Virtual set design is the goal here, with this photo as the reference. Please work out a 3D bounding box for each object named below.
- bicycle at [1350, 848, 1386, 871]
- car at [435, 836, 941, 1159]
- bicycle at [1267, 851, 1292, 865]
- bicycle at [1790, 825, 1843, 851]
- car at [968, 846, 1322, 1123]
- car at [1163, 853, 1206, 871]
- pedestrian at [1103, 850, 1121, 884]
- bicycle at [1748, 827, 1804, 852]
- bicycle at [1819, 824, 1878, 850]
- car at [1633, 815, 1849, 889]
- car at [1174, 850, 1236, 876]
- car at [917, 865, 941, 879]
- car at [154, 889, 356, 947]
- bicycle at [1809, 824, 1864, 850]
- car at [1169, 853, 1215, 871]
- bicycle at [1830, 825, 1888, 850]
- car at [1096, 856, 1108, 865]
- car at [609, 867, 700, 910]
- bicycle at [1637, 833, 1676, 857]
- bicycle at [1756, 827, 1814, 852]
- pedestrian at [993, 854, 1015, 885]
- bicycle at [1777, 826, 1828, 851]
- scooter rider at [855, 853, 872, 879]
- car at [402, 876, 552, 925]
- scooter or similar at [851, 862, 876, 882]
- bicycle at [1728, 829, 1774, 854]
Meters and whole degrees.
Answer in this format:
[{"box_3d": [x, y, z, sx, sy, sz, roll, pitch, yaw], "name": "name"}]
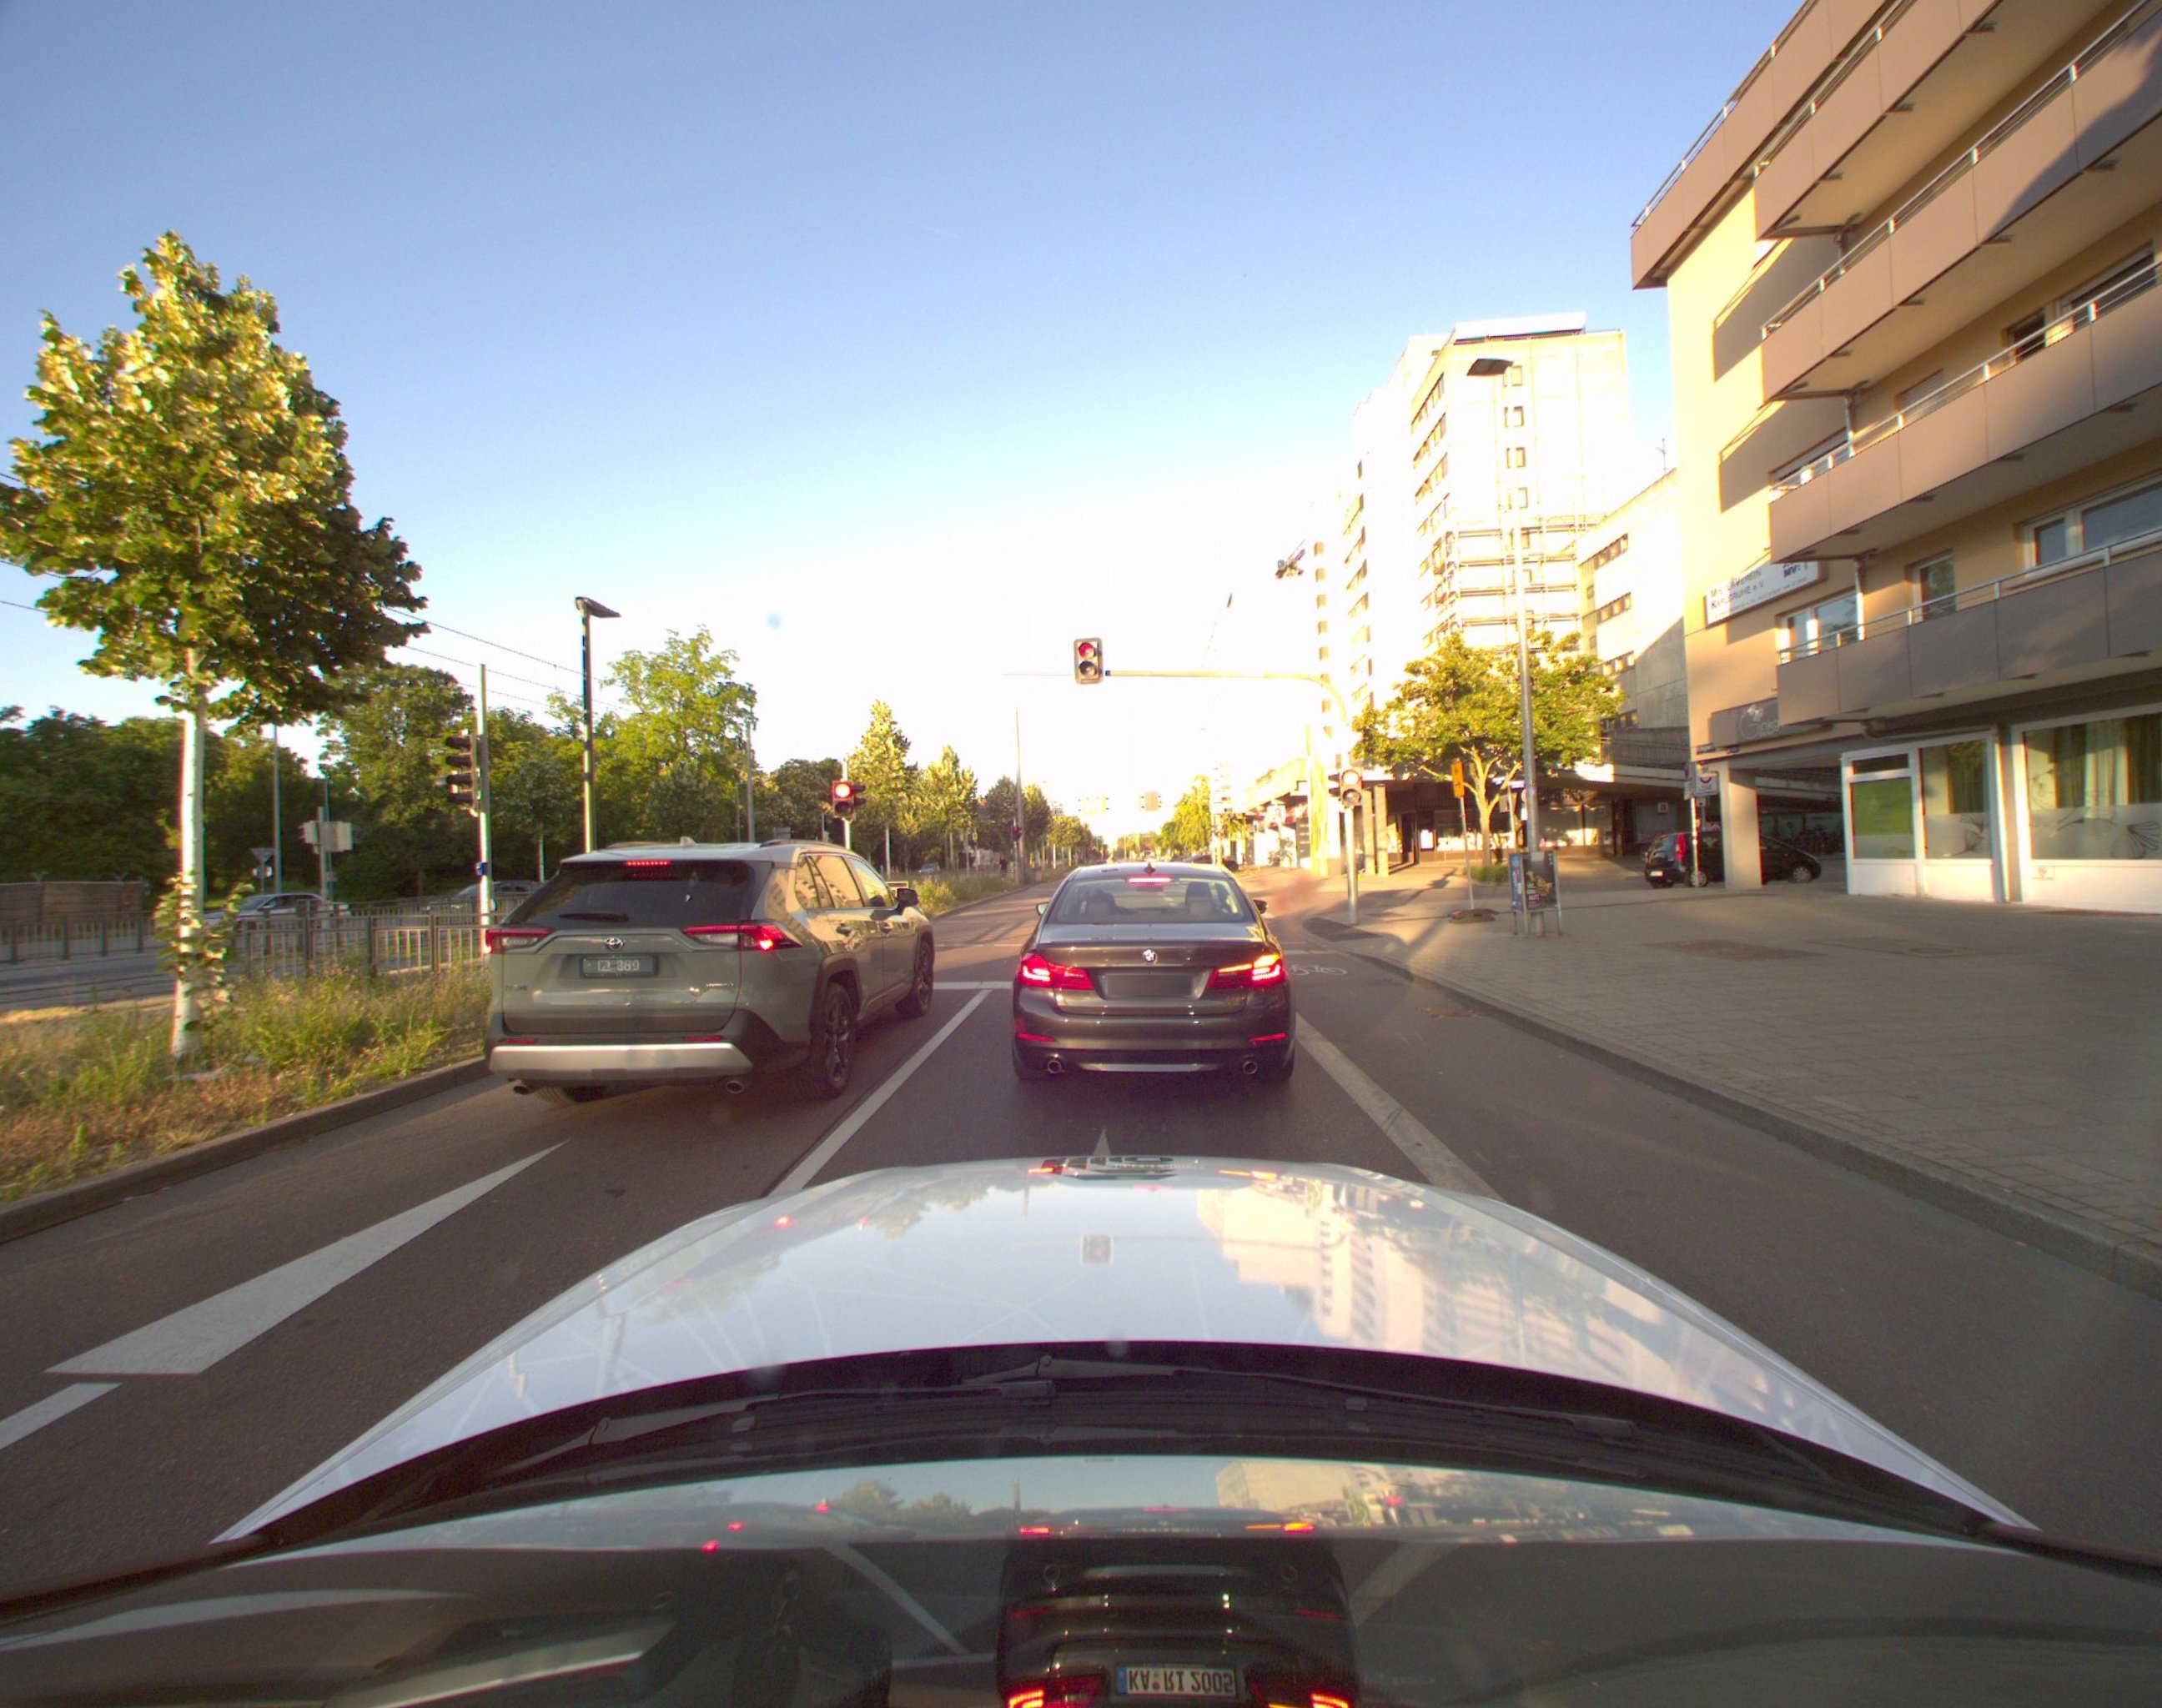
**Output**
[{"box_3d": [14.488, 0.300, 41.139, 0.690, 1.149, 2.012, 1, -1, -16], "name": "bicycle"}, {"box_3d": [-2.423, 0.716, 6.405, 1.848, 1.658, 4.268, -1, 1, 0], "name": "car"}, {"box_3d": [16.775, 0.364, 68.731, 2.005, 1.149, 0.692, 0, -1, 8], "name": "bicycle"}, {"box_3d": [33.462, -0.713, 37.072, 0.579, 1.075, 1.976, 1, -1, -1], "name": "bicycle"}, {"box_3d": [0.524, 0.707, 6.756, 1.923, 1.481, 4.528, -1, 1, 4], "name": "car"}, {"box_3d": [10.822, 0.806, 85.068, 4.284, 1.658, 1.841, -2, 1, -33], "name": "car"}, {"box_3d": [1.649, 0.689, 43.324, 0.832, 1.712, 0.648, -2, -1, 1], "name": "pedestrian"}, {"box_3d": [31.827, -0.646, 37.330, 0.582, 1.075, 1.966, 1, -1, -17], "name": "bicycle"}, {"box_3d": [34.665, -0.763, 36.817, 0.580, 1.075, 1.971, 1, -1, -9], "name": "bicycle"}, {"box_3d": [17.179, -0.007, 21.379, 4.020, 1.585, 1.708, -4, -4, 6], "name": "car"}, {"box_3d": [8.617, 0.611, 56.438, 4.291, 1.658, 1.839, -2, 1, -40], "name": "car"}, {"box_3d": [-17.281, 2.012, 92.673, 1.792, 1.481, 3.786, -2, 0, 3], "name": "car"}, {"box_3d": [-27.445, 2.060, 27.333, 1.985, 1.481, 4.527, -1, 1, 4], "name": "car"}, {"box_3d": [34.050, -0.763, 36.748, 0.579, 1.075, 1.974, 1, -1, -4], "name": "bicycle"}, {"box_3d": [10.745, 0.751, 78.984, 4.285, 1.658, 1.841, -2, 1, -34], "name": "car"}, {"box_3d": [35.293, -0.741, 36.972, 0.580, 1.075, 1.971, 1, -1, -9], "name": "bicycle"}, {"box_3d": [3.855, 1.230, 147.074, 1.971, 1.433, 4.846, -1, 1, 2], "name": "car"}, {"box_3d": [-24.297, 1.897, 46.598, 1.981, 2.168, 4.765, -1, 1, 11], "name": "car"}, {"box_3d": [26.986, -0.402, 38.218, 0.578, 1.075, 1.980, 1, -1, 5], "name": "bicycle"}, {"box_3d": [32.304, -0.663, 37.388, 0.583, 1.075, 1.963, 1, -1, -21], "name": "bicycle"}, {"box_3d": [-4.080, 0.809, 43.081, 0.815, 1.586, 0.829, -2, -1, -33], "name": "pedestrian"}, {"box_3d": [32.902, -0.678, 37.170, 0.579, 1.075, 1.976, 1, -1, -1], "name": "bicycle"}, {"box_3d": [-13.110, 0.702, 49.084, 0.824, 1.514, 0.648, -2, -1, -23], "name": "scooter rider"}, {"box_3d": [-22.246, 1.656, 30.266, 1.985, 1.481, 4.527, -1, 1, 4], "name": "car"}, {"box_3d": [-13.089, 1.095, 49.049, 1.335, 1.153, 0.509, -2, -1, -24], "name": "scooter or similar"}, {"box_3d": [30.299, -0.564, 36.869, 0.578, 1.075, 1.980, 1, -1, 5], "name": "bicycle"}]
